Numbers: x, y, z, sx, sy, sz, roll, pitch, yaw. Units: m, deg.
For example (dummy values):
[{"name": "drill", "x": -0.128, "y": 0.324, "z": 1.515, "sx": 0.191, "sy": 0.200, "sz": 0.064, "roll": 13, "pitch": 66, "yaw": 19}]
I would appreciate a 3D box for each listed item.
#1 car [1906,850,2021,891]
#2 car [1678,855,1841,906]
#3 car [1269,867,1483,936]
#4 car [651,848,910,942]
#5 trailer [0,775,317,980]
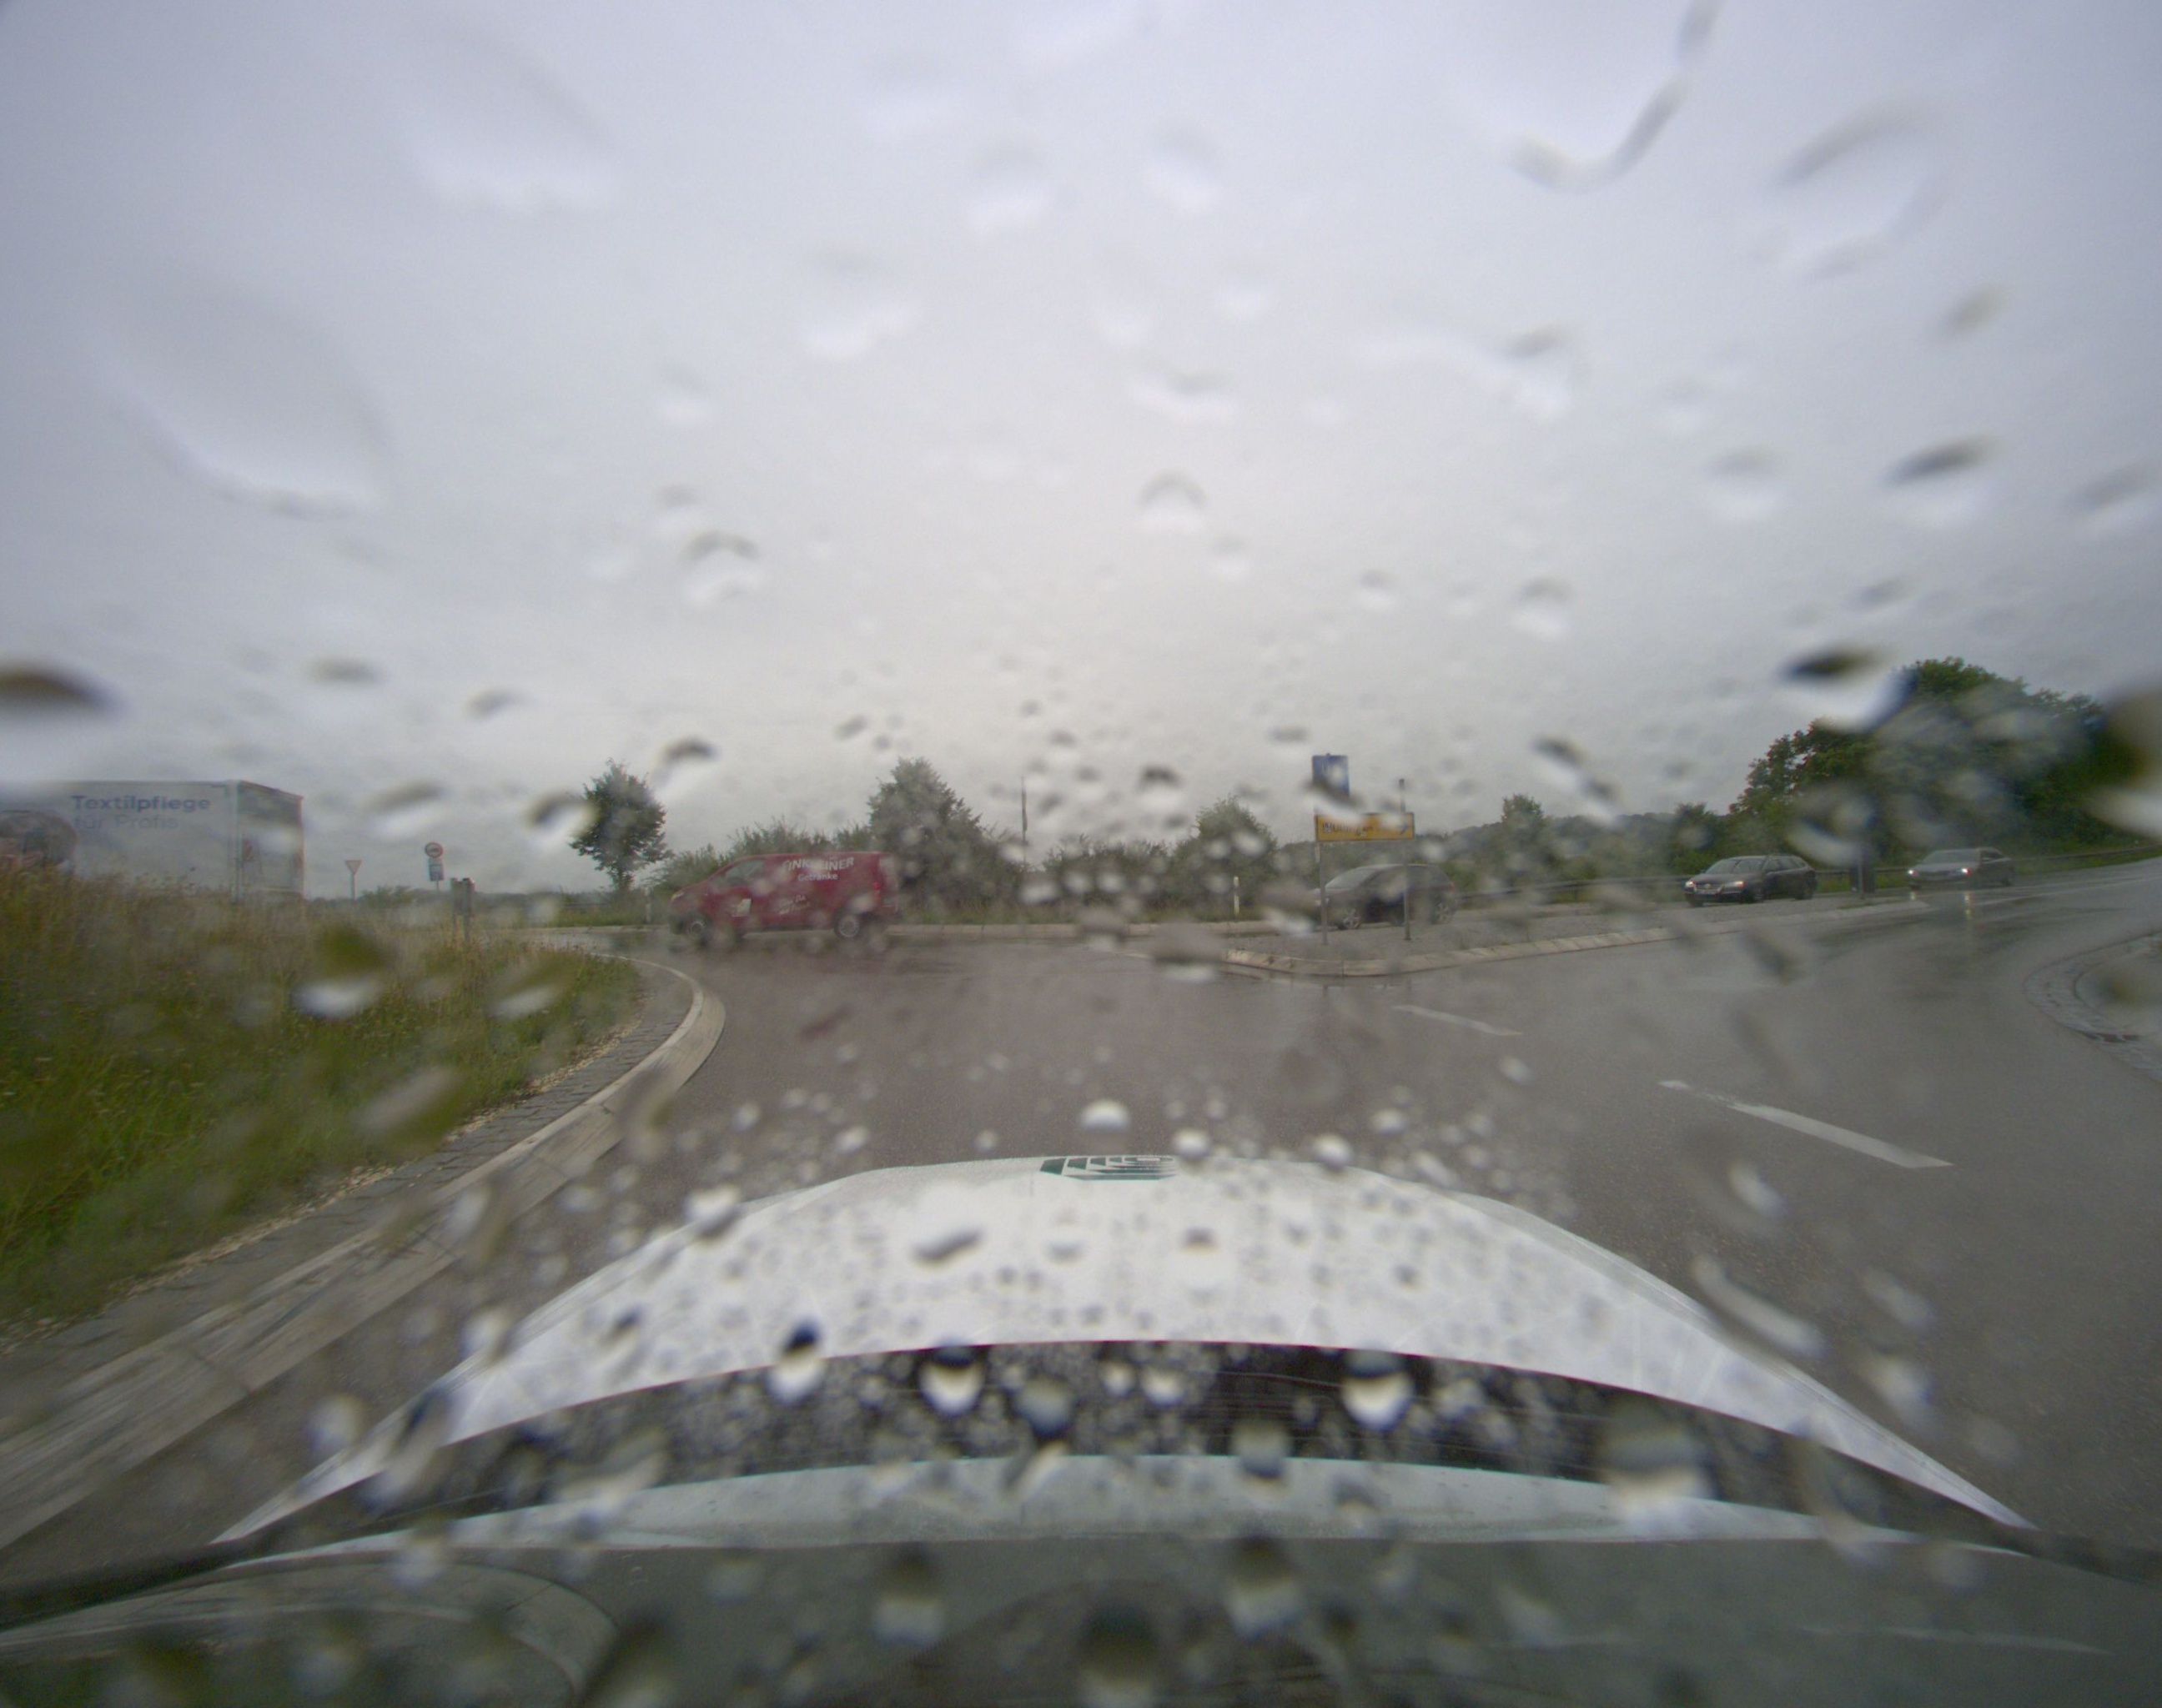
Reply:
[{"name": "car", "x": 32.893, "y": 0.602, "z": 30.352, "sx": 4.513, "sy": 1.421, "sz": 1.749, "roll": 0, "pitch": -1, "yaw": -27}, {"name": "car", "x": 19.989, "y": 0.741, "z": 23.995, "sx": 4.510, "sy": 1.371, "sz": 1.934, "roll": 0, "pitch": -1, "yaw": -25}, {"name": "car", "x": 6.804, "y": 1.031, "z": 18.841, "sx": 4.502, "sy": 1.421, "sz": 1.862, "roll": 0, "pitch": -1, "yaw": -19}, {"name": "car", "x": -6.516, "y": 0.876, "z": 18.078, "sx": 4.944, "sy": 1.870, "sz": 2.000, "roll": -1, "pitch": -1, "yaw": 1}, {"name": "trailer", "x": -21.914, "y": 0.506, "z": 15.937, "sx": 9.722, "sy": 3.819, "sz": 2.820, "roll": -1, "pitch": -1, "yaw": -22}]
